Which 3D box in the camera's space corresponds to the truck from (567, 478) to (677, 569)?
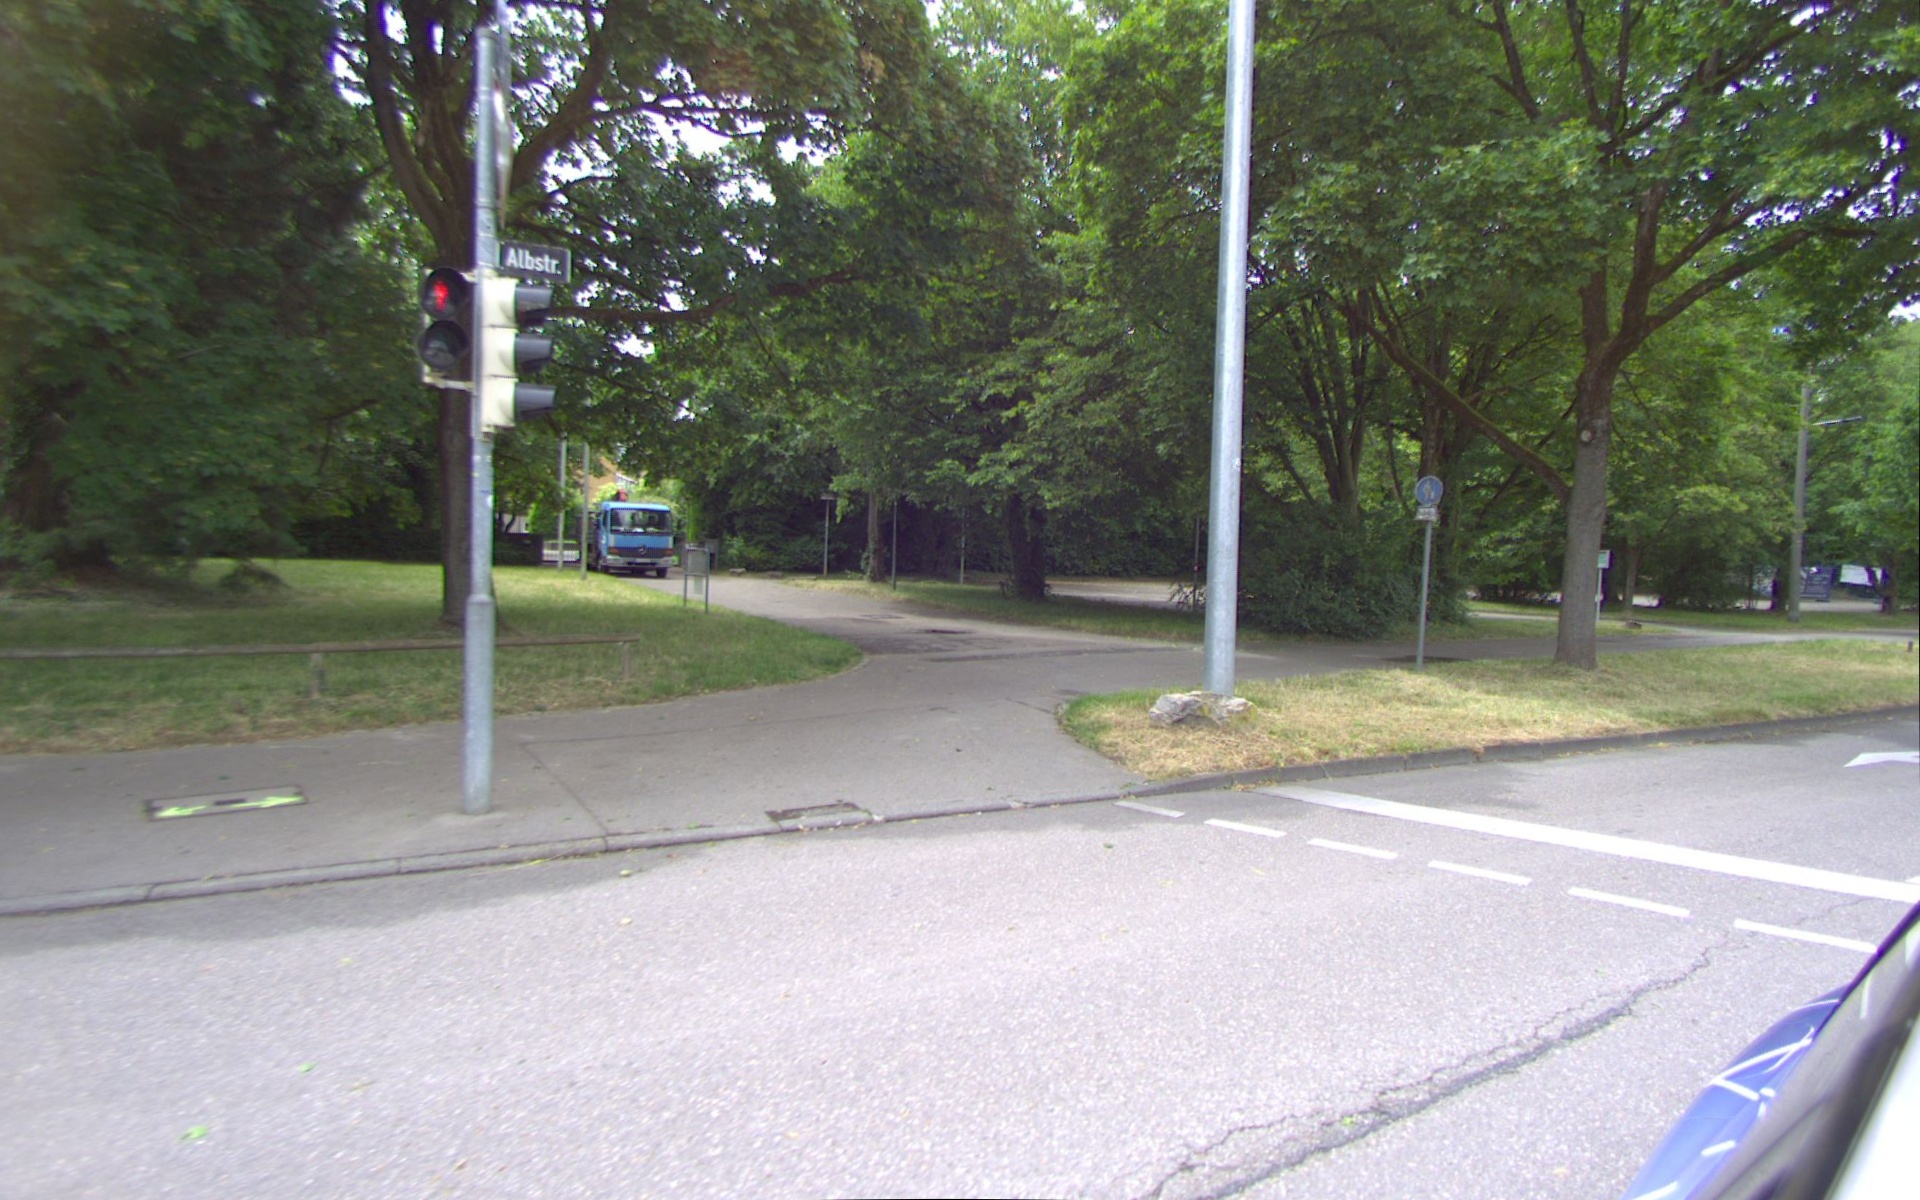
[{"bbox_3d":[-12.311,-2.671,36.439,2.432,2.882,7.446,1,3,-29],"label":"truck"}]
